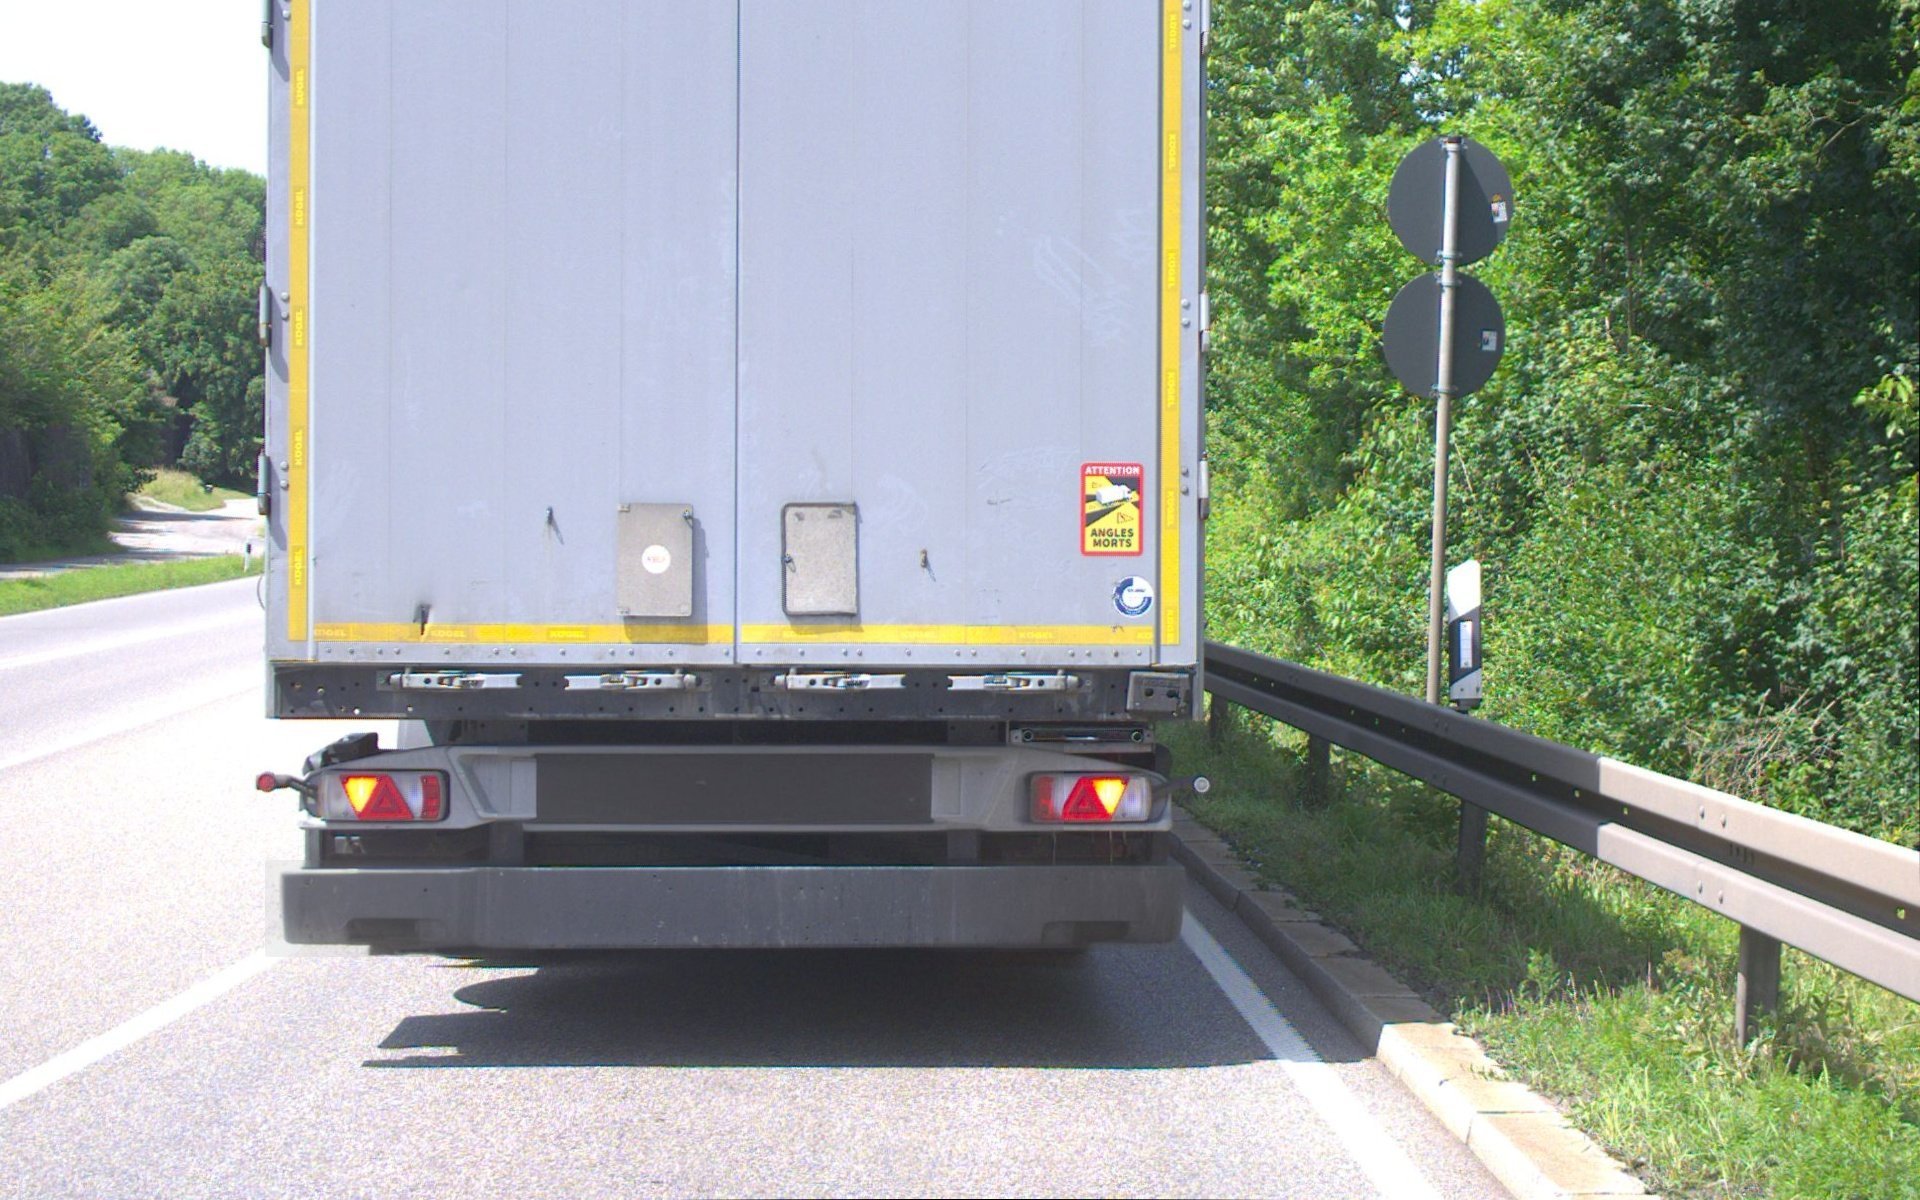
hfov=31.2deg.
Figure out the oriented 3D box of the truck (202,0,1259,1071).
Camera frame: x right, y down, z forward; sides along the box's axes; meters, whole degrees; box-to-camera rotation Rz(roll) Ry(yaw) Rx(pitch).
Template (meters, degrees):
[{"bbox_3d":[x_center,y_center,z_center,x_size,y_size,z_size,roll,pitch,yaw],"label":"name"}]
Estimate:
[{"bbox_3d":[-0.750,-0.916,14.985,2.757,4.016,11.925,0,1,-1],"label":"truck"}]
